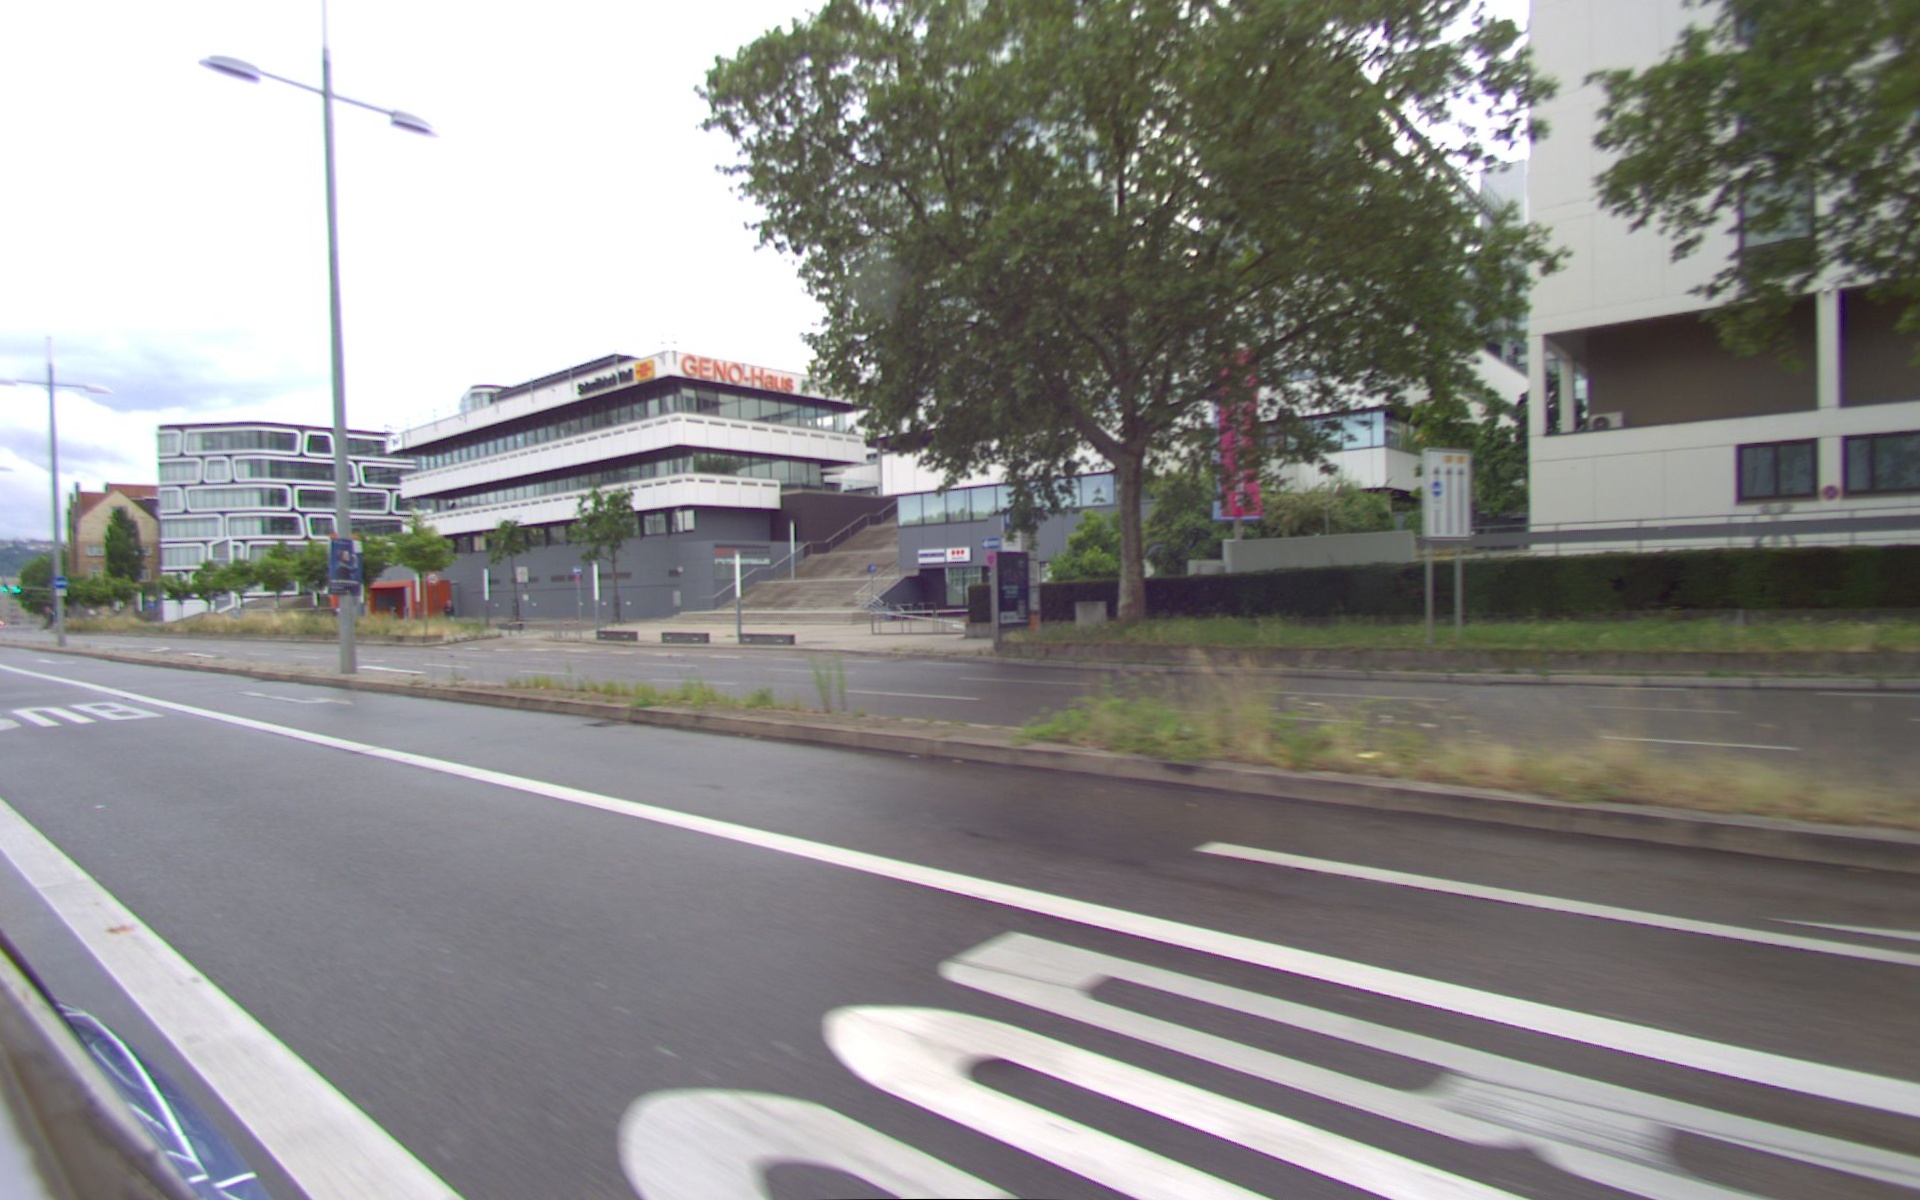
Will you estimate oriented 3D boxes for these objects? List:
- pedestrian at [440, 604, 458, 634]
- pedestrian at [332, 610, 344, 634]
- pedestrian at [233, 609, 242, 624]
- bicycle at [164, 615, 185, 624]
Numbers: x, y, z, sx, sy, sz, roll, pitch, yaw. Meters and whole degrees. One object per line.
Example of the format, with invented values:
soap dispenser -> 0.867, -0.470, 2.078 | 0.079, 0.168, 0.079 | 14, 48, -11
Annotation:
pedestrian -> -31.296, 1.151, 61.957 | 0.628, 1.821, 0.776 | 0, 0, 42
pedestrian -> -48.507, 1.693, 78.960 | 0.628, 1.821, 0.623 | 0, 0, 42
pedestrian -> -76.968, 1.776, 107.866 | 0.640, 1.623, 0.604 | 0, 2, 45
bicycle -> -76.281, 1.905, 98.285 | 1.638, 0.864, 0.608 | 0, 0, 9
